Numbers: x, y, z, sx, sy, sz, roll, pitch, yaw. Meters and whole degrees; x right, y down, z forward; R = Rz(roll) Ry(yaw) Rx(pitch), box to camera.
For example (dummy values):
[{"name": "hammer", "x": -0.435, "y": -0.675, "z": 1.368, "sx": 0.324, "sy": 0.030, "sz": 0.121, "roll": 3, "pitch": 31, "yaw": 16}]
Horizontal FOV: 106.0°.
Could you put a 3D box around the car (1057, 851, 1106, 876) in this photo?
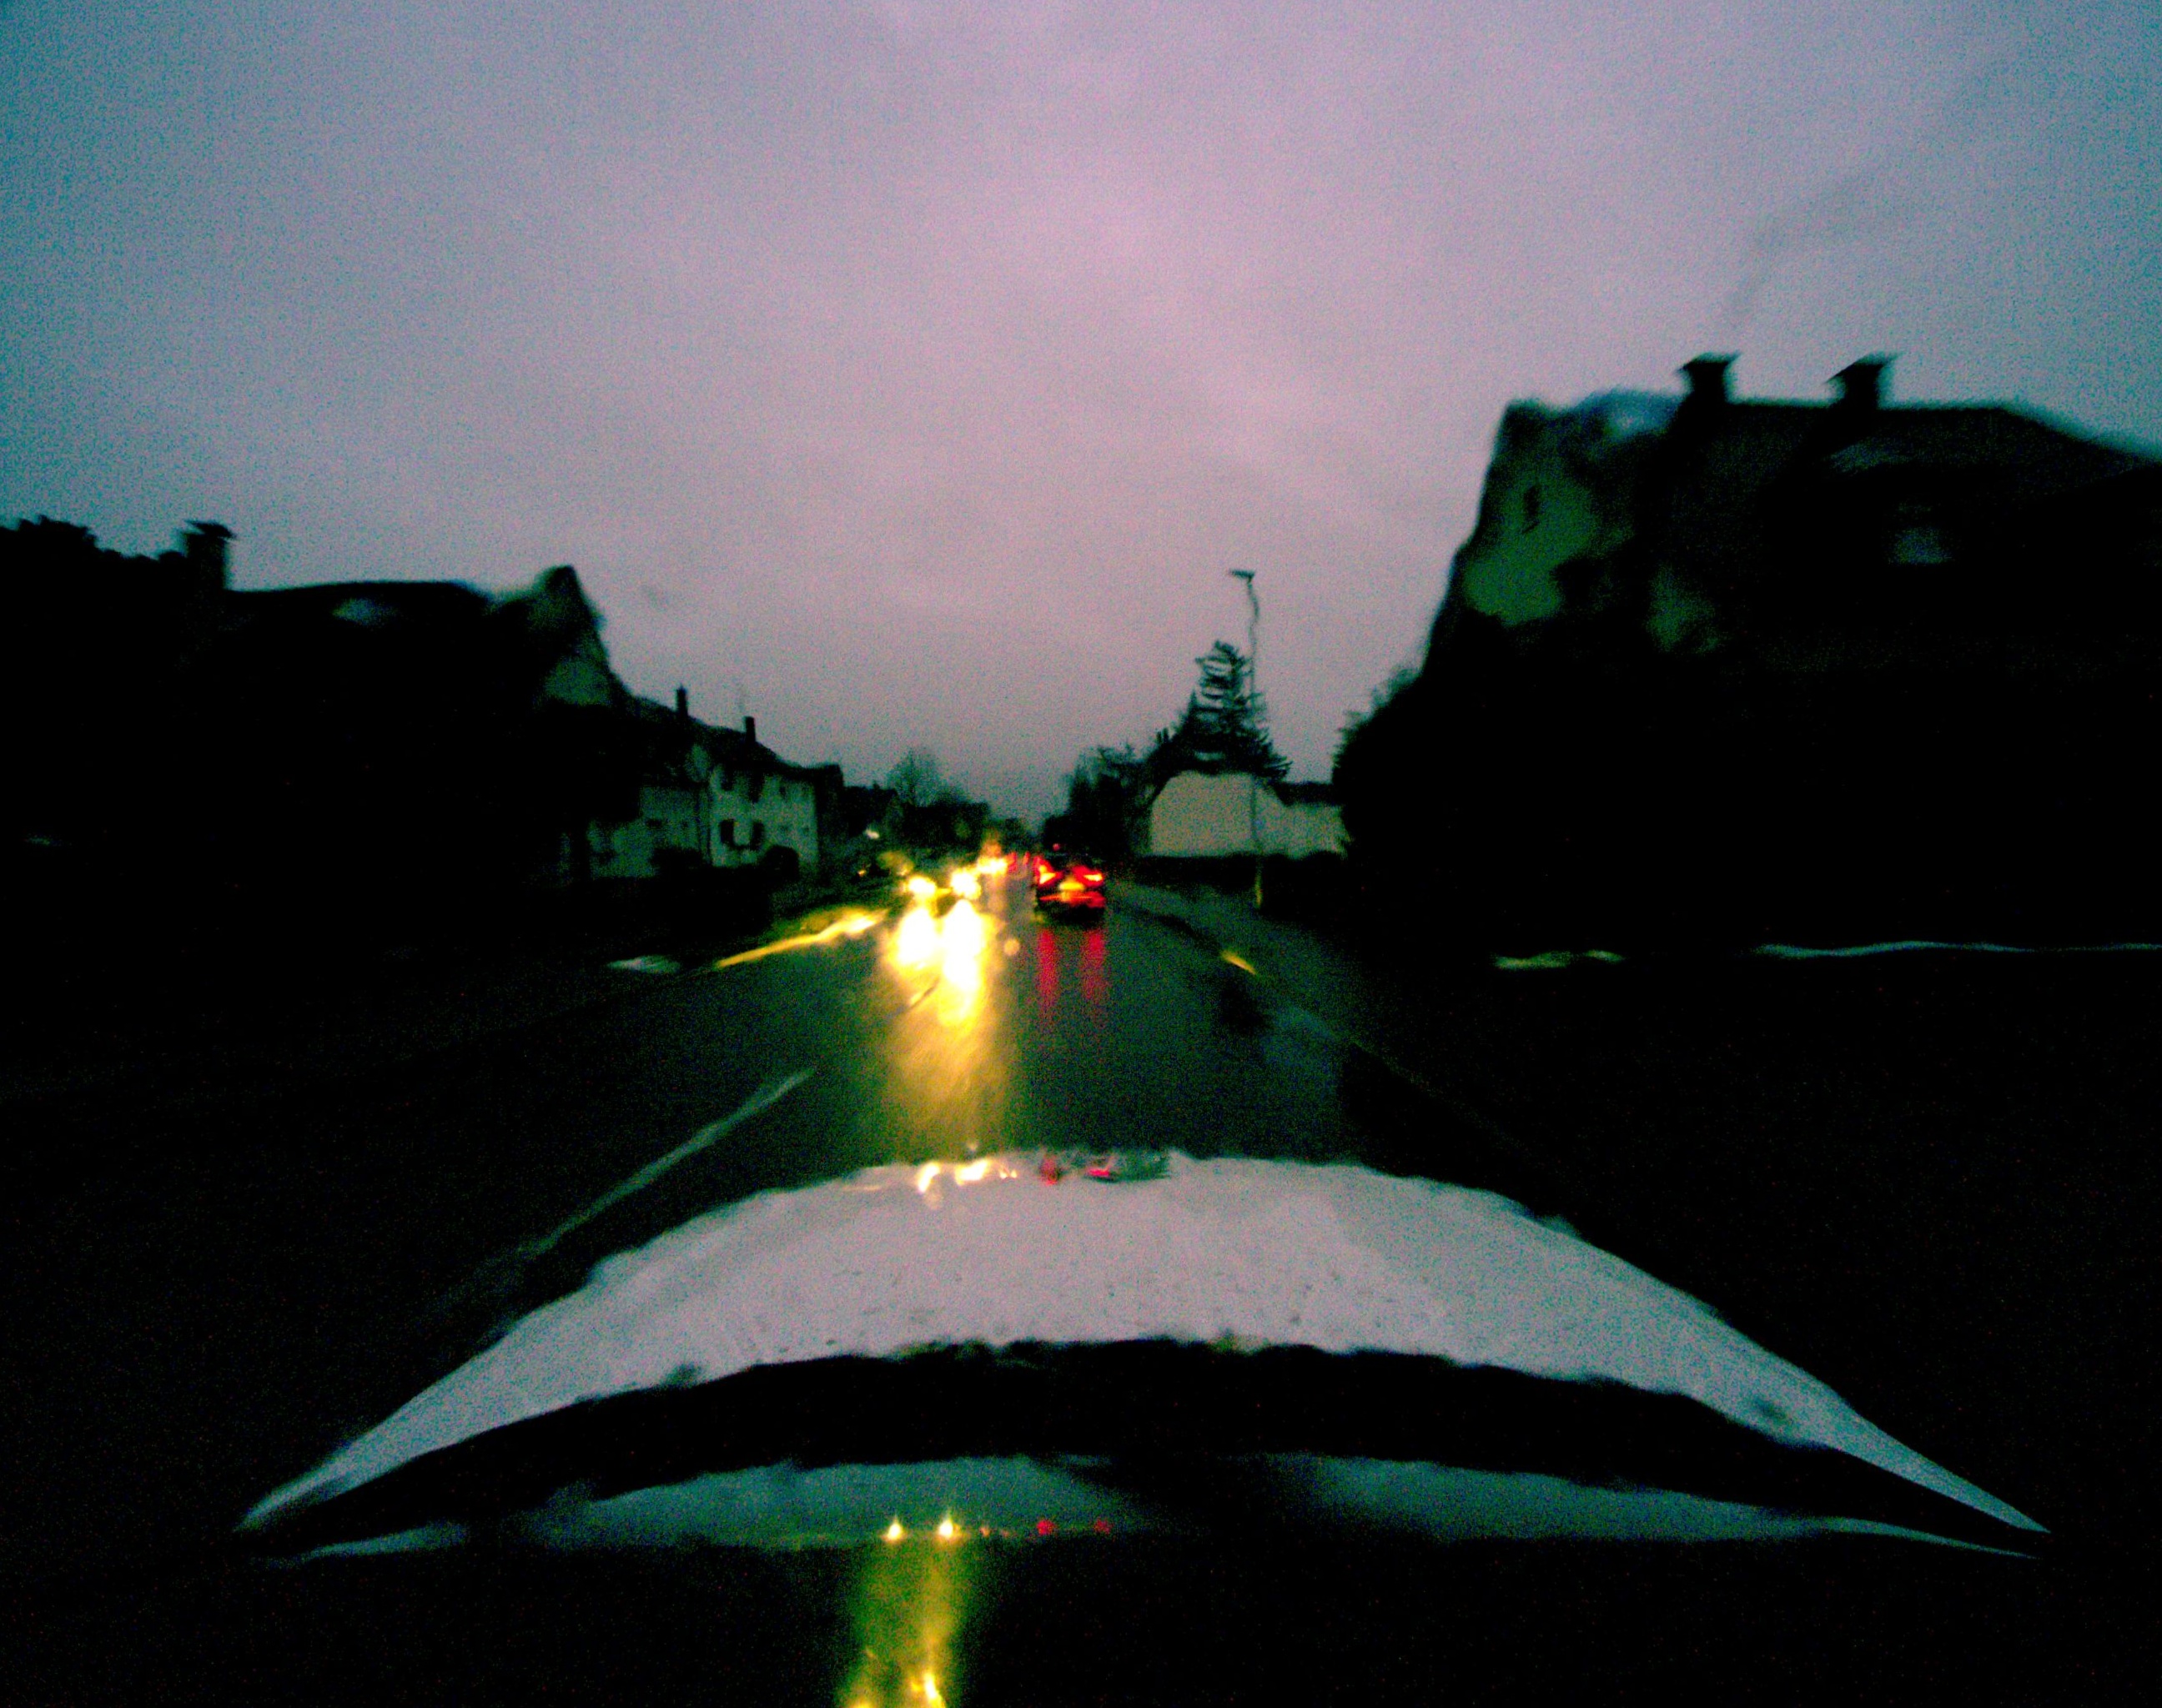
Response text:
[{"name": "car", "x": 0.043, "y": 0.845, "z": 73.423, "sx": 4.235, "sy": 2.013, "sz": 1.809, "roll": -2, "pitch": 0, "yaw": -2}]

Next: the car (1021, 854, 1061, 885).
[{"name": "car", "x": -2.308, "y": 0.846, "z": 46.227, "sx": 1.857, "sy": 1.647, "sz": 3.988, "roll": -1, "pitch": 0, "yaw": -9}]

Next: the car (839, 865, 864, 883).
[{"name": "car", "x": -17.834, "y": 1.525, "z": 63.273, "sx": 1.781, "sy": 1.393, "sz": 3.978, "roll": 0, "pitch": -1, "yaw": -16}]

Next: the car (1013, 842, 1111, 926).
[{"name": "car", "x": -0.556, "y": 0.750, "z": 22.176, "sx": 2.304, "sy": 1.938, "sz": 5.013, "roll": -2, "pitch": -1, "yaw": -3}]

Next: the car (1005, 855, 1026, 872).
[{"name": "car", "x": -8.003, "y": 1.214, "z": 99.165, "sx": 2.307, "sy": 1.938, "sz": 5.006, "roll": -2, "pitch": -1, "yaw": -7}]

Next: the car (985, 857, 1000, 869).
[{"name": "car", "x": -12.710, "y": 1.334, "z": 117.113, "sx": 1.909, "sy": 1.522, "sz": 3.996, "roll": -2, "pitch": 1, "yaw": -3}]

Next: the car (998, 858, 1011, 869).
[{"name": "car", "x": -12.237, "y": 1.508, "z": 129.997, "sx": 1.909, "sy": 1.431, "sz": 3.996, "roll": -2, "pitch": 2, "yaw": -3}]

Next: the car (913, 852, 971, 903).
[{"name": "car", "x": -4.890, "y": 0.793, "z": 28.764, "sx": 1.823, "sy": 1.554, "sz": 3.987, "roll": -3, "pitch": 0, "yaw": -10}]
